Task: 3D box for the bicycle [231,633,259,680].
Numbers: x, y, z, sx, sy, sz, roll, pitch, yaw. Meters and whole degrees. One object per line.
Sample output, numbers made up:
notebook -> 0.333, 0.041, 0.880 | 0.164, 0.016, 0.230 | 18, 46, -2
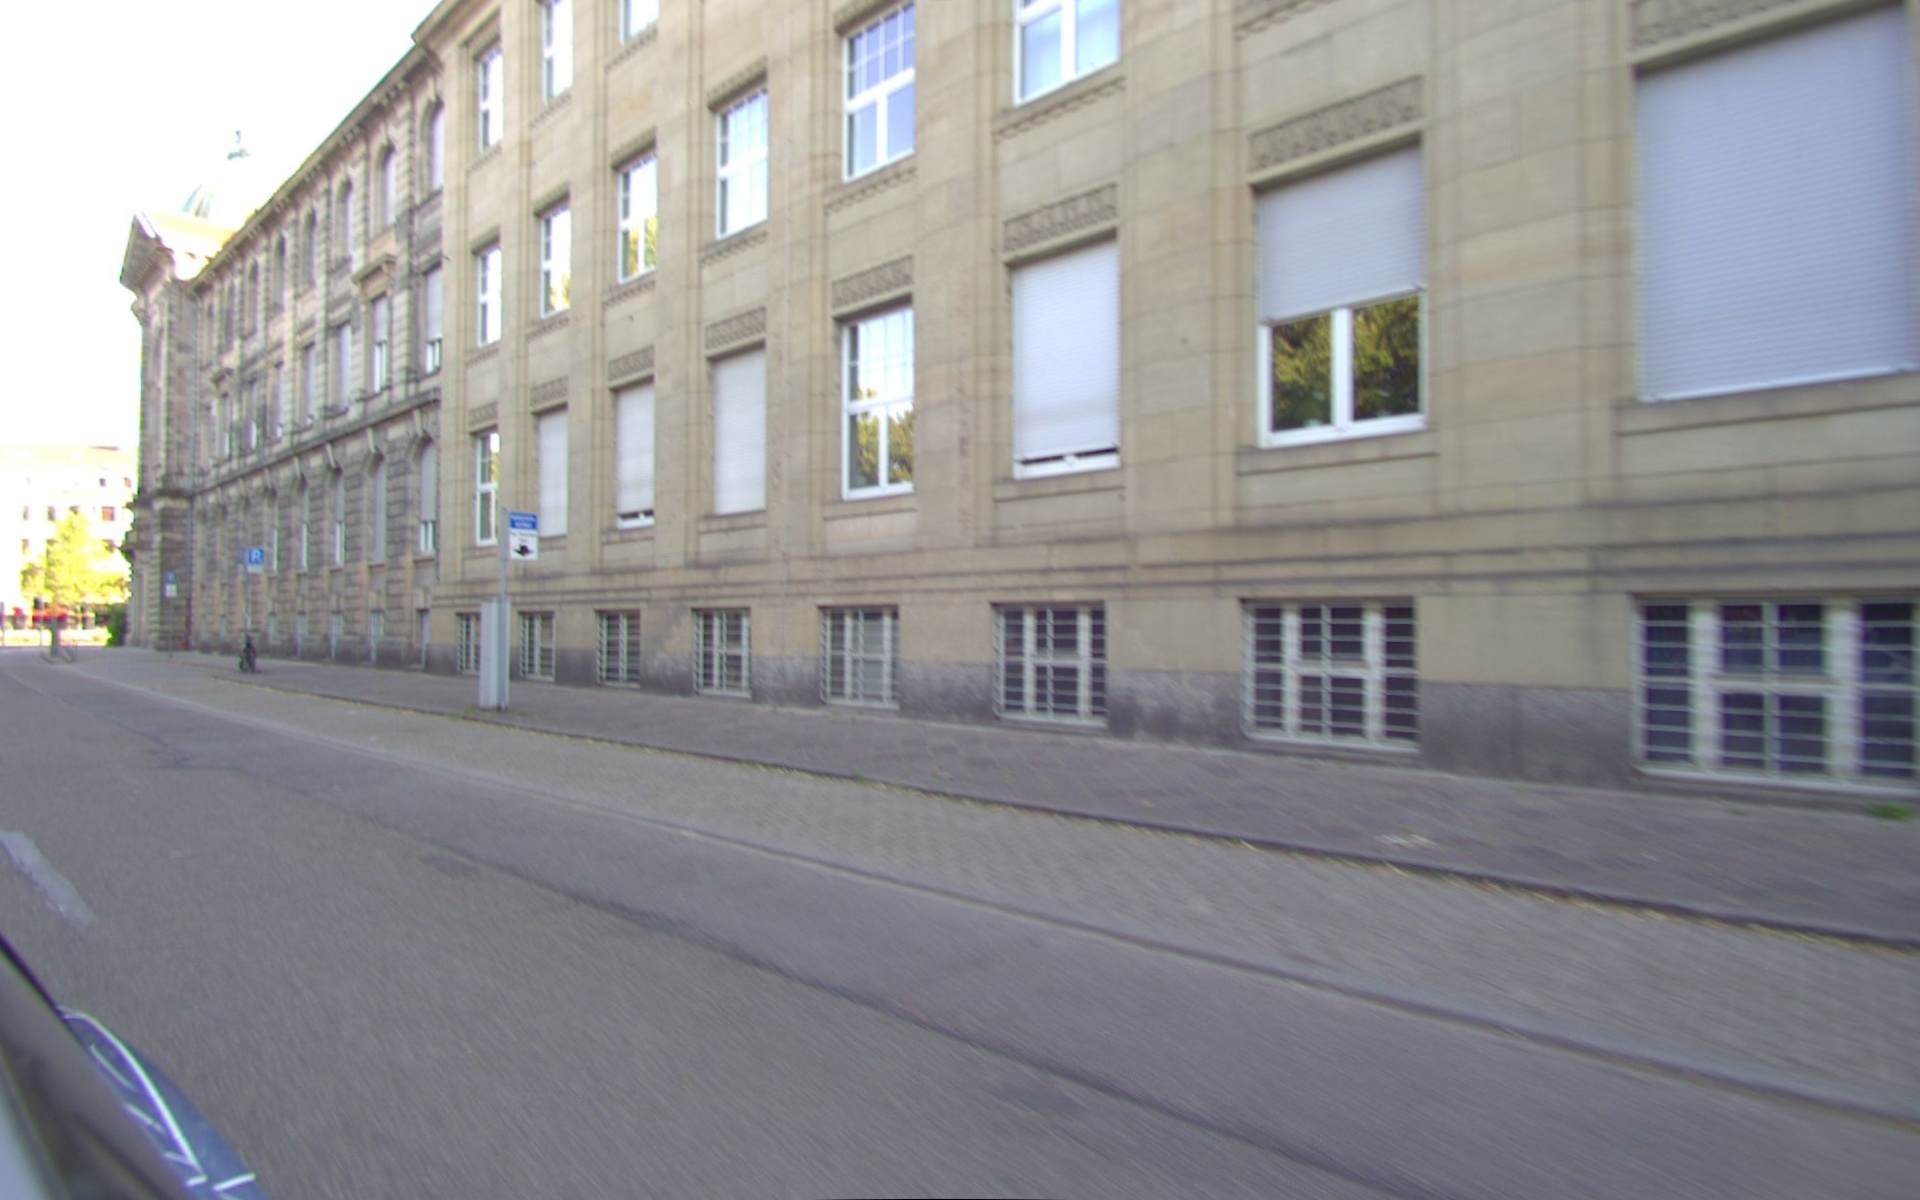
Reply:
bicycle -> -18.881, 1.473, 26.712 | 0.451, 1.218, 1.881 | 2, -3, -39
